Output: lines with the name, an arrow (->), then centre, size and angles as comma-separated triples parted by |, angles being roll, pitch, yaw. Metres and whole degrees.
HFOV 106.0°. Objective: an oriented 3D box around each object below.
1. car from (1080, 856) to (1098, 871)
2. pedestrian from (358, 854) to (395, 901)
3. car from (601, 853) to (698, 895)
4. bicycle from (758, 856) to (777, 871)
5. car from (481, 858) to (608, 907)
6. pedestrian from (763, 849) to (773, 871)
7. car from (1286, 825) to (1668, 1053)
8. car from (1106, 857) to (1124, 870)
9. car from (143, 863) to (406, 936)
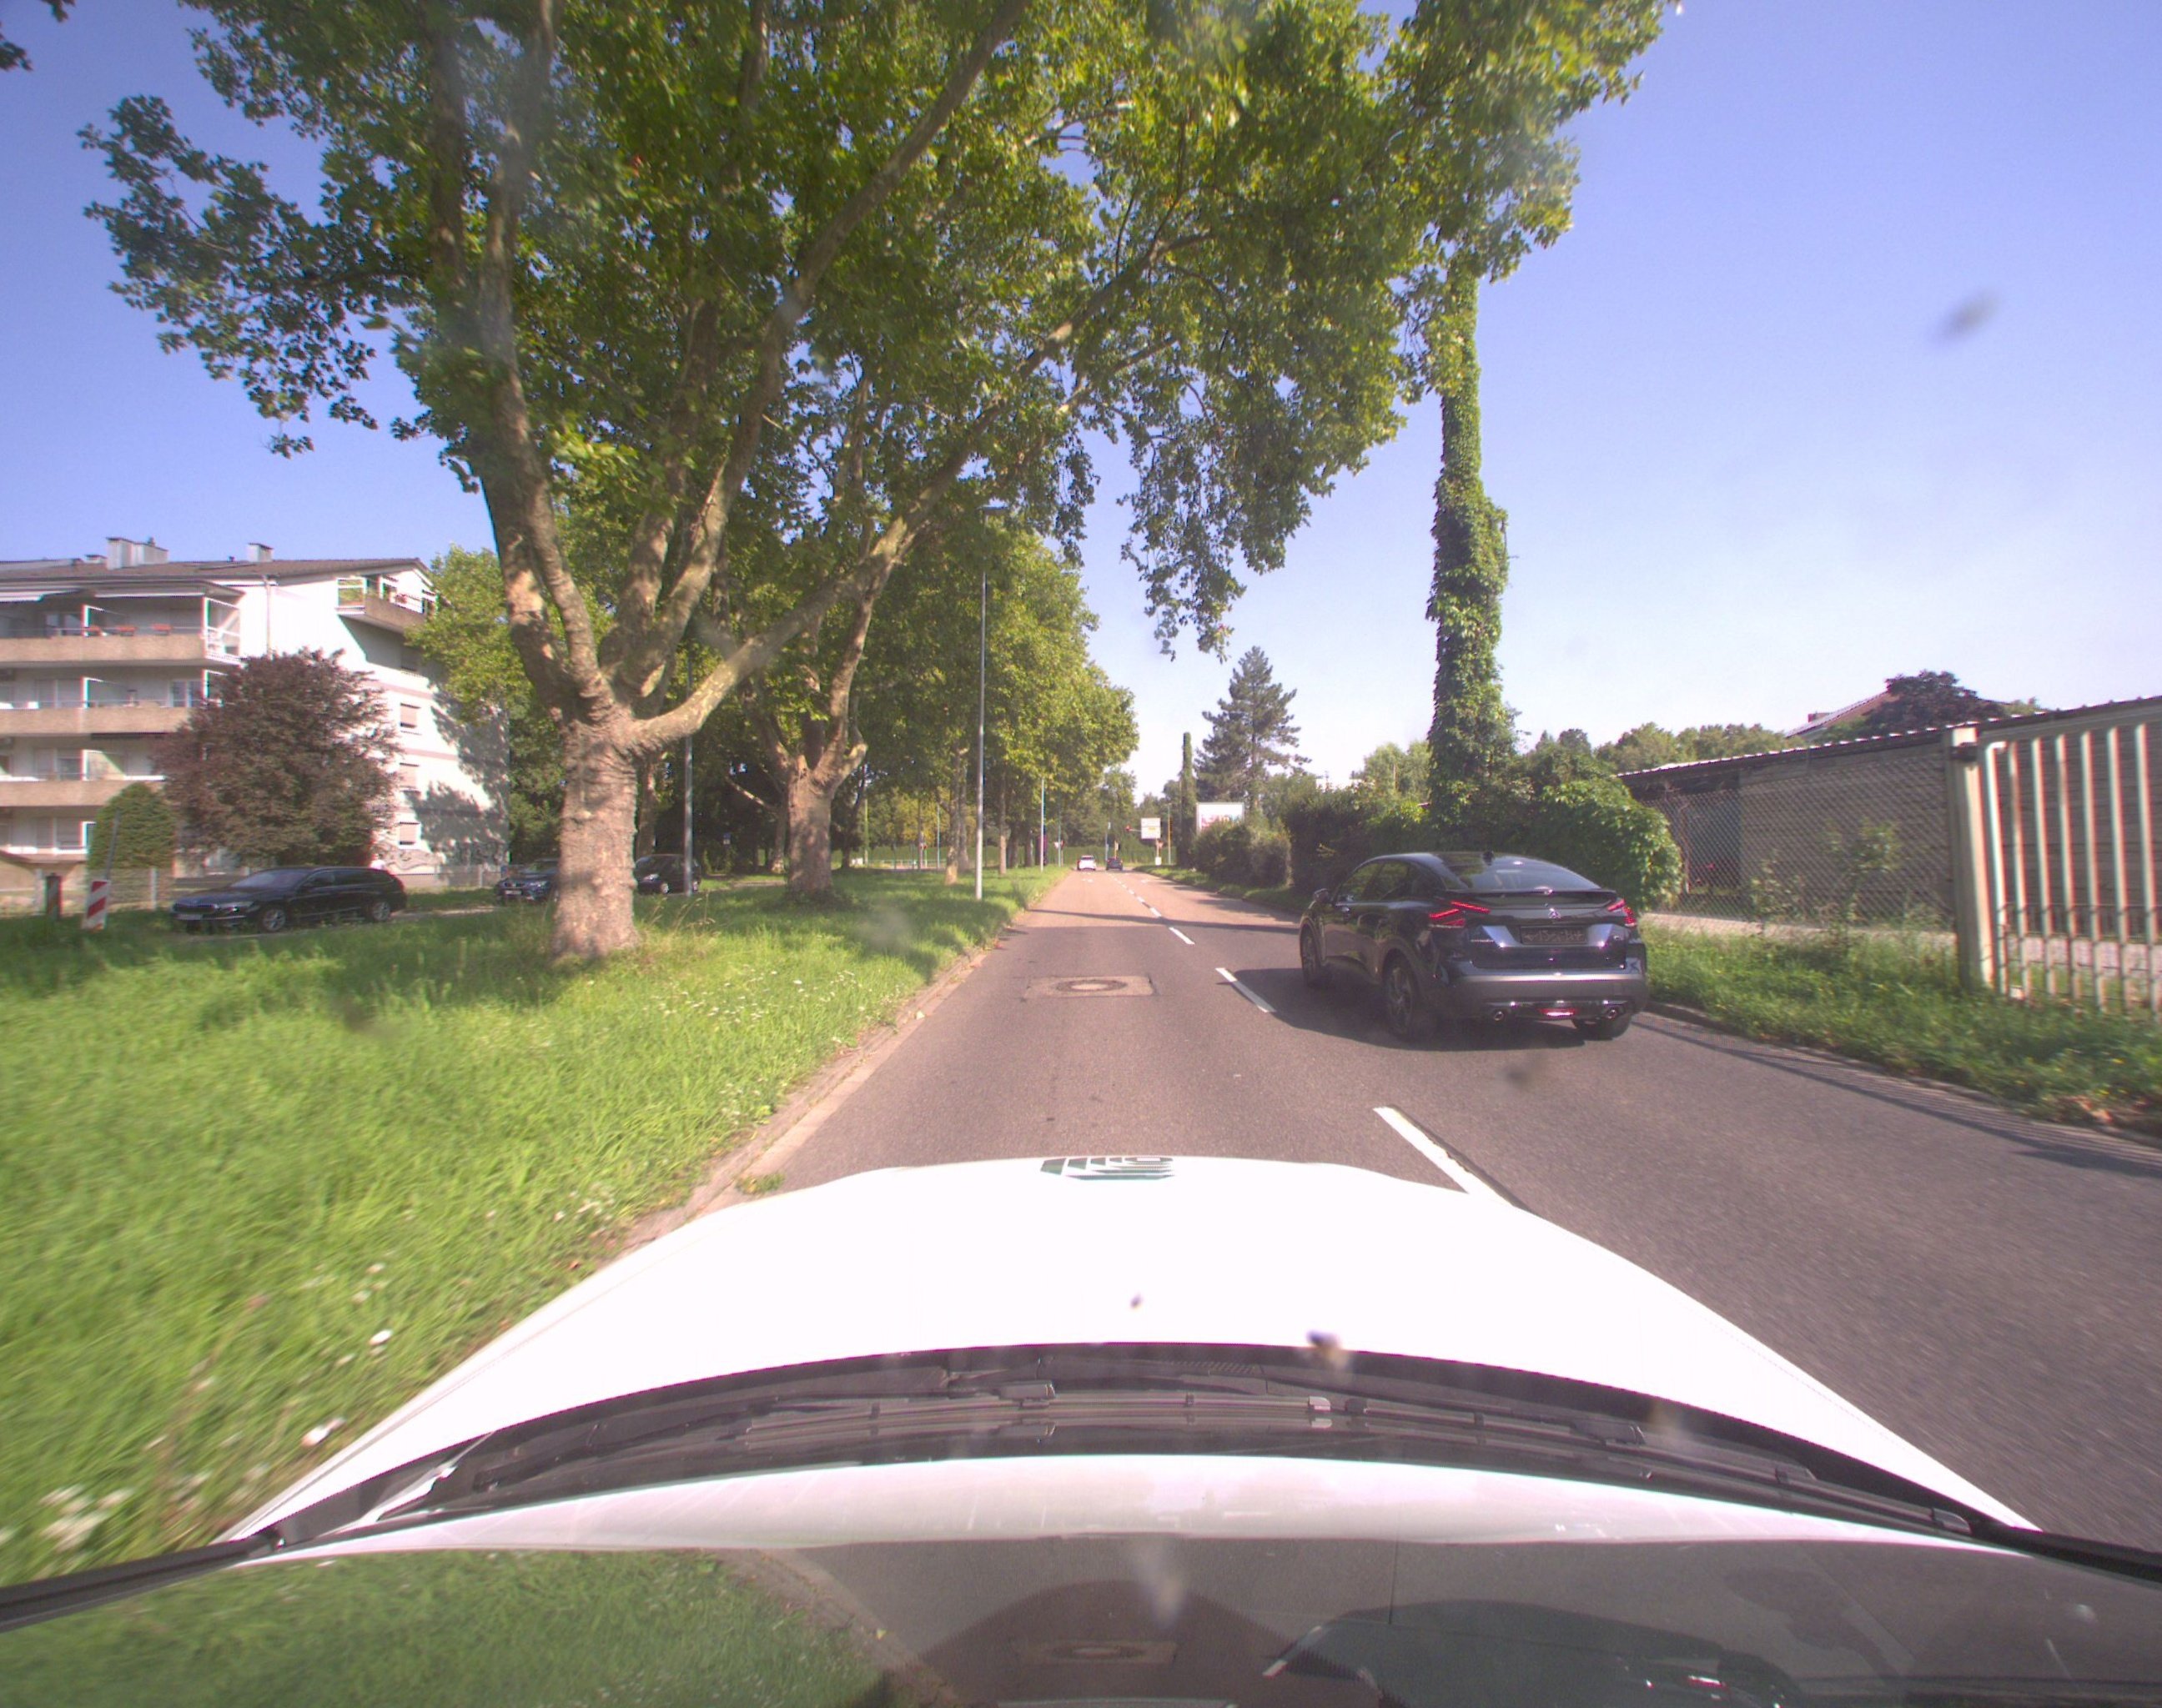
car -> 0.804, 0.915, 81.909 | 1.681, 1.462, 4.001 | 0, -1, 2
pedestrian -> -24.749, 0.815, 28.613 | 0.645, 1.646, 0.735 | 0, -1, -1
car -> -18.856, 0.853, 35.861 | 1.693, 1.732, 4.660 | 0, -1, 1
bicycle -> -24.422, 0.734, 63.480 | 0.543, 1.199, 2.758 | 0, -1, -3
car -> -18.457, 0.948, 28.241 | 1.693, 1.568, 4.001 | 0, -1, 1
pedestrian -> -24.426, 0.490, 63.617 | 0.541, 1.690, 0.657 | 0, -1, -3
car -> 3.355, 0.630, 7.932 | 1.640, 1.588, 4.254 | -1, -1, 0
car -> 3.782, 1.016, 90.623 | 1.792, 1.401, 3.999 | 0, -1, 0
car -> -18.877, 0.991, 19.440 | 1.693, 1.508, 4.541 | -1, -1, 1
